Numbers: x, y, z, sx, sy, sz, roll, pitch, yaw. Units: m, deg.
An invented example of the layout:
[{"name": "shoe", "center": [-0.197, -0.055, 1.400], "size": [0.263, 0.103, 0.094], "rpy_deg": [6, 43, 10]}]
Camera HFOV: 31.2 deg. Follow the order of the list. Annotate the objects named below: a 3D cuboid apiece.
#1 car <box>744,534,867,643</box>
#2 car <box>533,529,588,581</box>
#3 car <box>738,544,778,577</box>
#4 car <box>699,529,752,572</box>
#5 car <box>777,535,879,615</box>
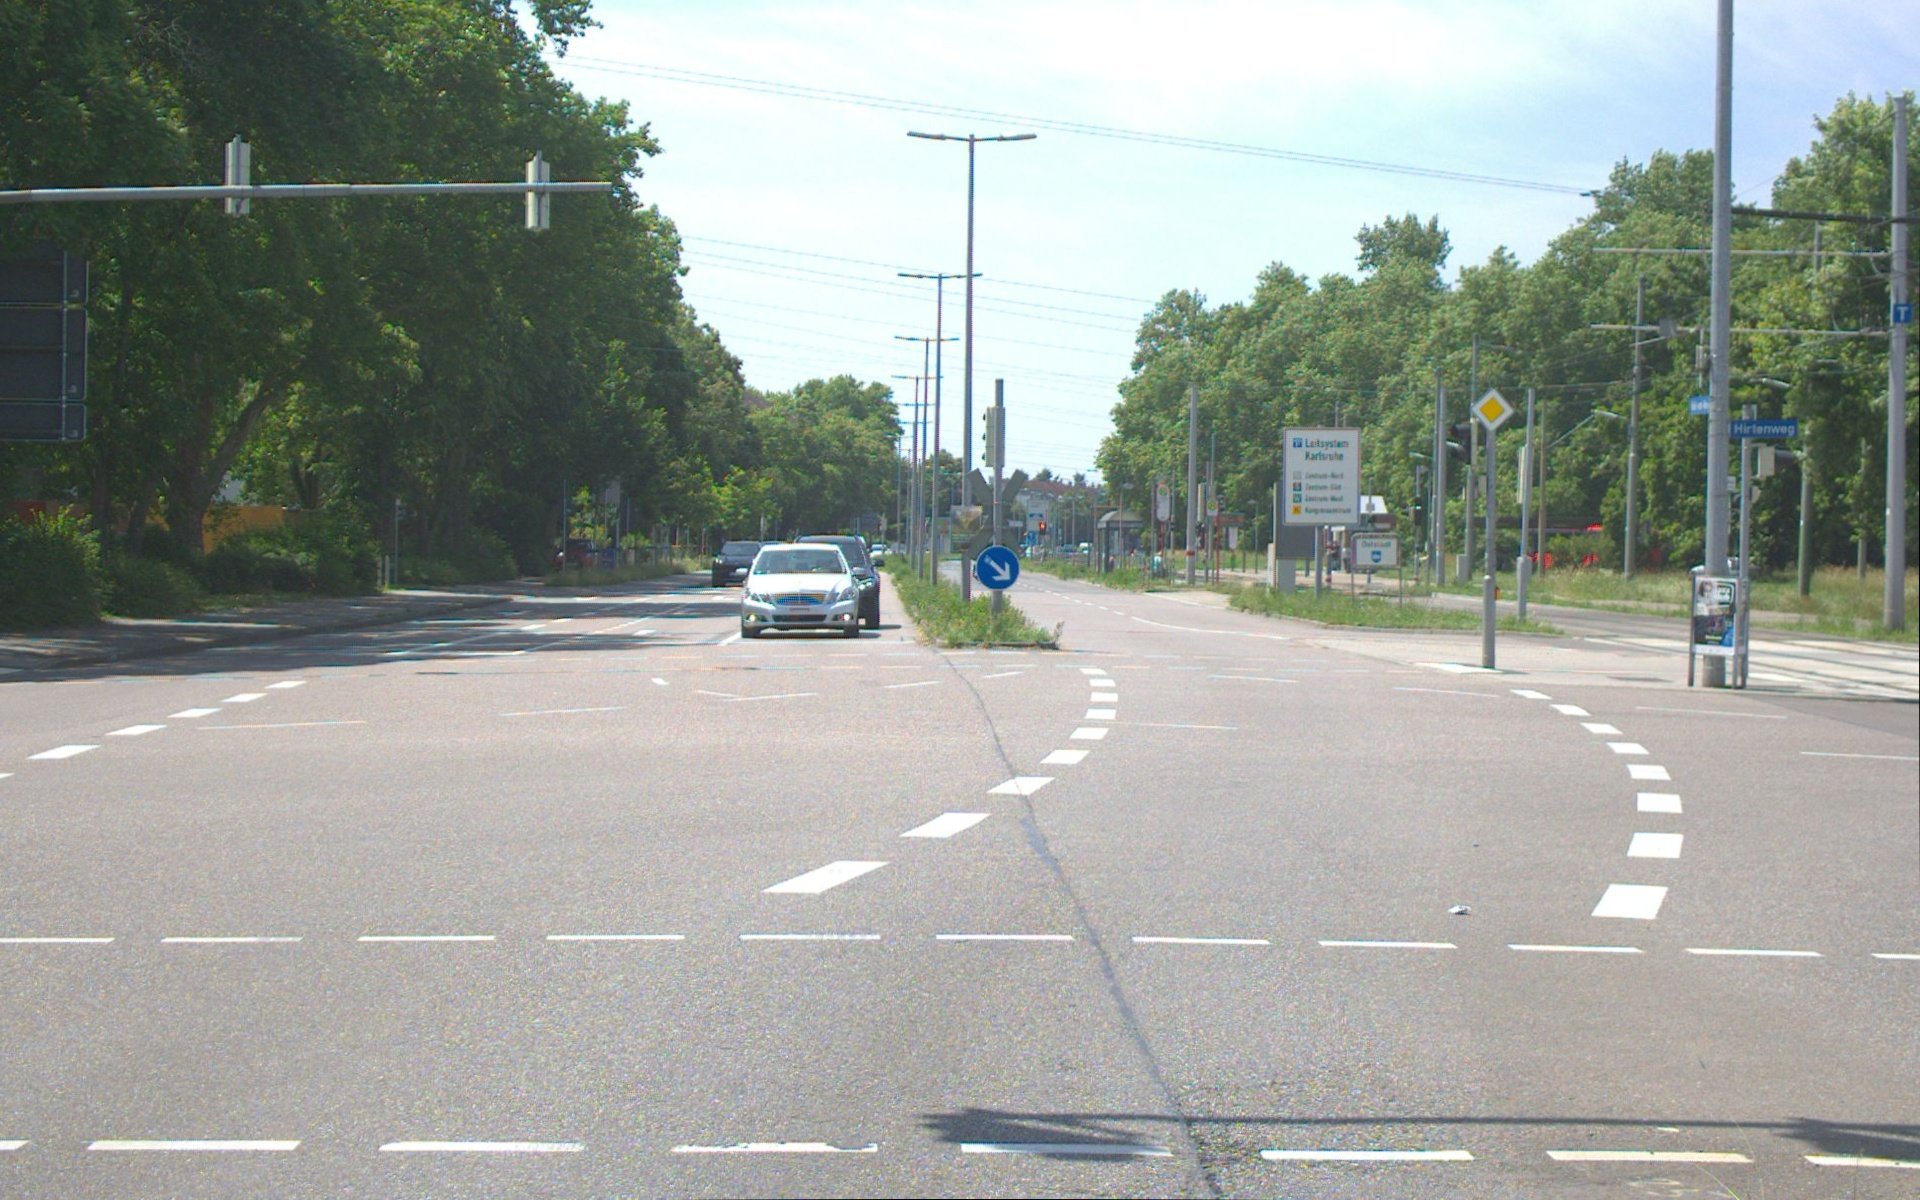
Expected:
[{"name": "car", "center": [-2.407, -0.208, 54.221], "size": [1.784, 1.623, 3.865], "rpy_deg": [1, 1, -1]}, {"name": "car", "center": [-16.803, -1.881, 144.699], "size": [1.993, 2.007, 4.001], "rpy_deg": [4, 0, -4]}, {"name": "car", "center": [-9.326, -1.827, 158.737], "size": [1.671, 1.485, 3.711], "rpy_deg": [1, 1, -1]}, {"name": "car", "center": [-8.374, -1.784, 123.128], "size": [1.671, 1.485, 3.711], "rpy_deg": [1, 1, -1]}, {"name": "car", "center": [-2.341, -0.472, 61.603], "size": [1.710, 1.361, 3.865], "rpy_deg": [1, 1, -1]}]
